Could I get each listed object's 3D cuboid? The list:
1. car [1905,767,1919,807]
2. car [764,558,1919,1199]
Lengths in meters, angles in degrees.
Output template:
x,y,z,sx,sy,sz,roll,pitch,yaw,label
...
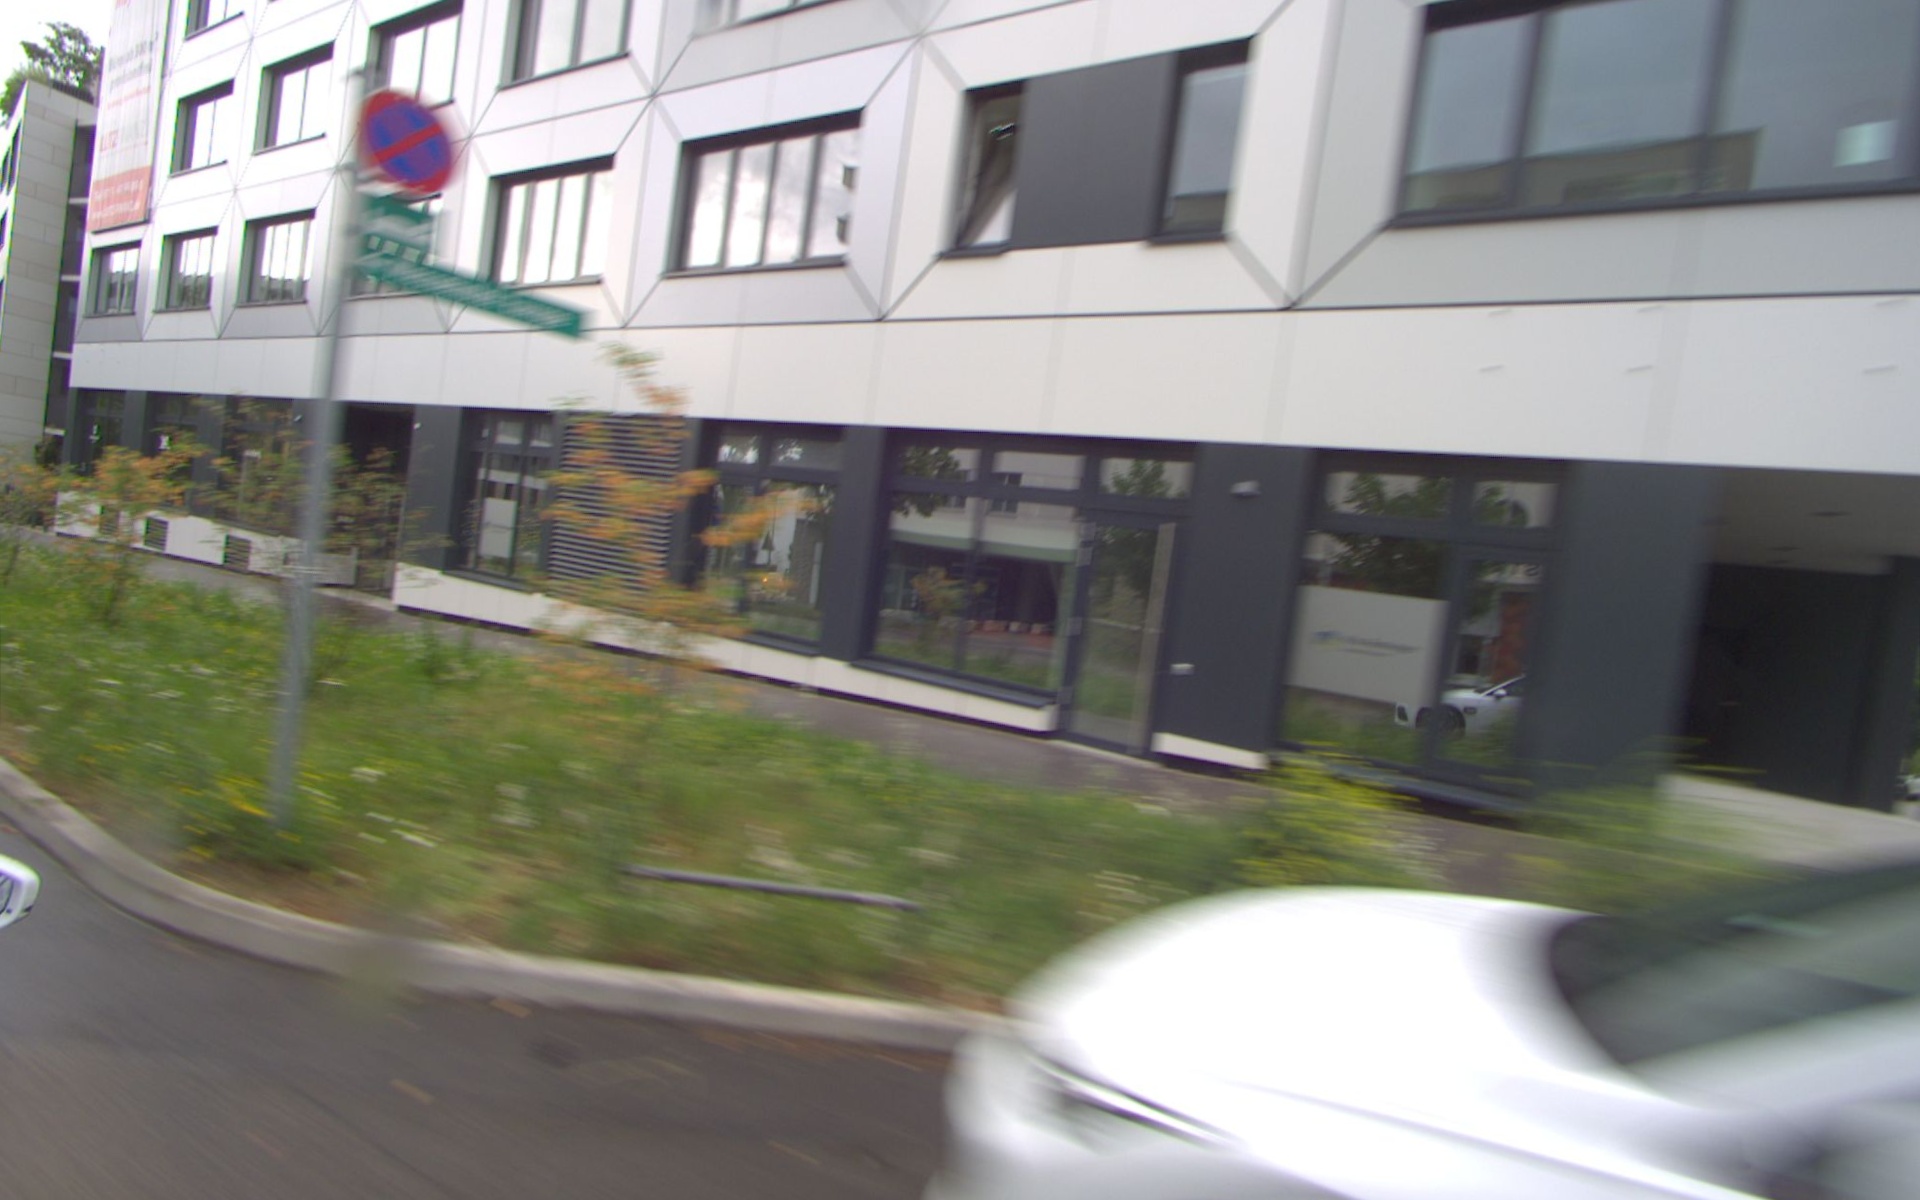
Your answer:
x,y,z,sx,sy,sz,roll,pitch,yaw,label
44.500,8.668,45.205,1.966,1.660,3.992,8,0,31,car
2.072,0.966,1.718,4.427,1.482,2.043,7,-1,31,car
